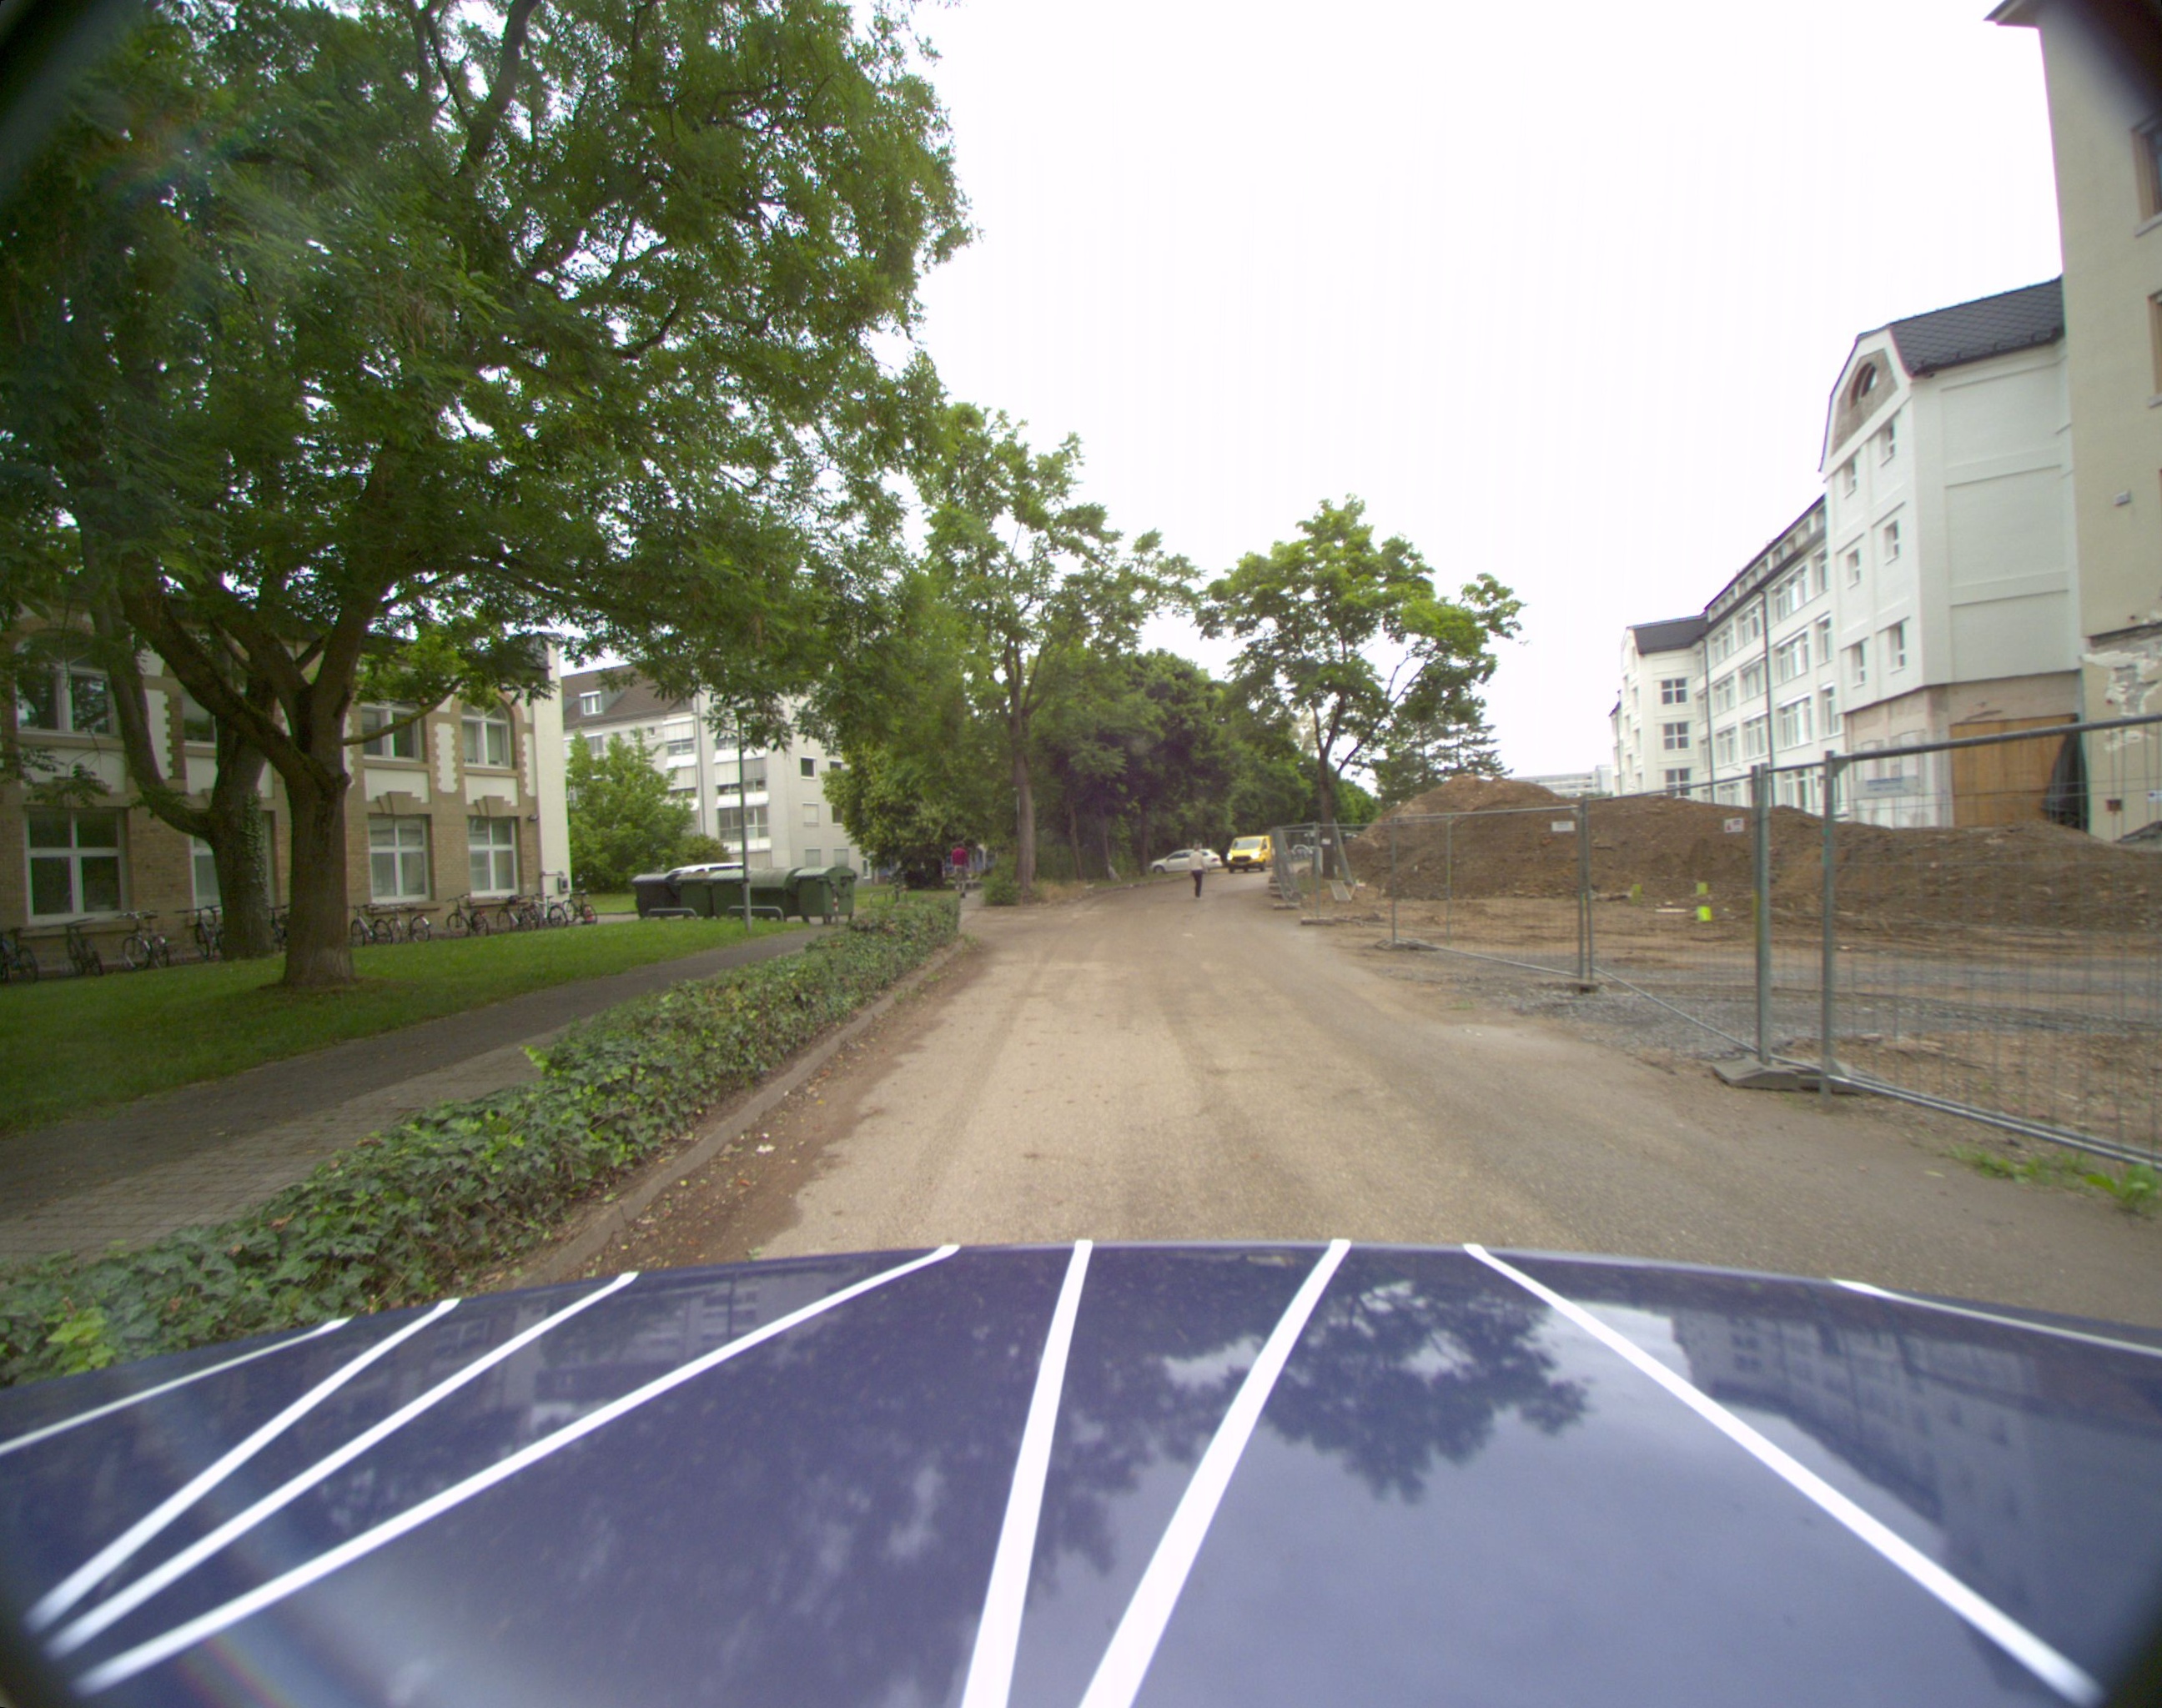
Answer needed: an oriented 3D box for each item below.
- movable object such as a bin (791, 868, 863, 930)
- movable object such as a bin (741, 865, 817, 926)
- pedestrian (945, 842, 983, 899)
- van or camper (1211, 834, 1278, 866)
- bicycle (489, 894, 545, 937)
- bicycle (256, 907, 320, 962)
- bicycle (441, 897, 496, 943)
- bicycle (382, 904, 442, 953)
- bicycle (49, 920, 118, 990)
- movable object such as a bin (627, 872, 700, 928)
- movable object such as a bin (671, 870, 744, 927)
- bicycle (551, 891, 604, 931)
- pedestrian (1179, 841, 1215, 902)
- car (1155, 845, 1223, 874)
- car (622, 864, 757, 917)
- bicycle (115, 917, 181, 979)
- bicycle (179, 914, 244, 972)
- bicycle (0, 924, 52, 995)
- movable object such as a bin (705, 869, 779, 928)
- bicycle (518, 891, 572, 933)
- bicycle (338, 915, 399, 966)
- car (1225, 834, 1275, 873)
[{"bbox_3d":[-6.258,1.089,18.757,1.272,1.426,1.074,-2,1,36],"label":"movable object such as a bin"},{"bbox_3d":[-7.633,1.033,19.245,1.283,1.442,1.110,-3,1,22],"label":"movable object such as a bin"},{"bbox_3d":[-4.299,0.595,28.022,0.793,2.052,1.203,-2,1,23],"label":"pedestrian"},{"bbox_3d":[12.393,-0.309,57.545,4.490,2.245,2.003,-2,1,27],"label":"van or camper"},{"bbox_3d":[-15.305,1.659,20.607,1.740,1.108,0.461,-3,1,28],"label":"bicycle"},{"bbox_3d":[-17.159,1.721,16.429,1.740,1.108,0.461,-2,1,28],"label":"bicycle"},{"bbox_3d":[-15.759,1.692,19.543,1.740,1.108,0.461,-2,1,30],"label":"bicycle"},{"bbox_3d":[-16.274,1.797,18.474,1.740,1.108,0.461,-3,1,28],"label":"bicycle"},{"bbox_3d":[-18.341,1.825,13.964,1.740,1.108,0.461,0,2,28],"label":"bicycle"},{"bbox_3d":[-11.671,1.272,21.256,1.359,1.442,1.110,-3,1,21],"label":"movable object such as a bin"},{"bbox_3d":[-10.183,1.204,20.735,1.324,1.442,1.110,-3,1,22],"label":"movable object such as a bin"},{"bbox_3d":[-14.639,1.653,22.080,1.740,1.108,0.461,-3,1,28],"label":"bicycle"},{"bbox_3d":[3.495,0.510,22.941,0.752,1.771,0.662,-3,1,-24],"label":"pedestrian"},{"bbox_3d":[6.600,0.350,46.264,3.879,1.565,1.754,-3,1,15],"label":"car"},{"bbox_3d":[-16.608,1.508,32.524,1.897,1.862,4.781,-5,-1,28],"label":"car"},{"bbox_3d":[-18.179,1.803,14.796,1.740,1.108,0.461,-3,1,28],"label":"bicycle"},{"bbox_3d":[-17.770,1.792,15.515,1.740,1.108,0.461,-3,1,28],"label":"bicycle"},{"bbox_3d":[-18.738,1.827,13.375,1.740,1.108,0.461,-1,1,28],"label":"bicycle"},{"bbox_3d":[-8.919,1.162,20.028,1.292,1.442,1.110,-3,1,22],"label":"movable object such as a bin"},{"bbox_3d":[-14.979,1.626,21.233,1.740,1.108,0.461,-3,1,28],"label":"bicycle"},{"bbox_3d":[-16.663,2.012,17.752,1.740,1.108,0.461,-3,1,28],"label":"bicycle"},{"bbox_3d":[9.534,-0.065,42.633,2.121,2.002,4.005,-2,0,20],"label":"car"}]
